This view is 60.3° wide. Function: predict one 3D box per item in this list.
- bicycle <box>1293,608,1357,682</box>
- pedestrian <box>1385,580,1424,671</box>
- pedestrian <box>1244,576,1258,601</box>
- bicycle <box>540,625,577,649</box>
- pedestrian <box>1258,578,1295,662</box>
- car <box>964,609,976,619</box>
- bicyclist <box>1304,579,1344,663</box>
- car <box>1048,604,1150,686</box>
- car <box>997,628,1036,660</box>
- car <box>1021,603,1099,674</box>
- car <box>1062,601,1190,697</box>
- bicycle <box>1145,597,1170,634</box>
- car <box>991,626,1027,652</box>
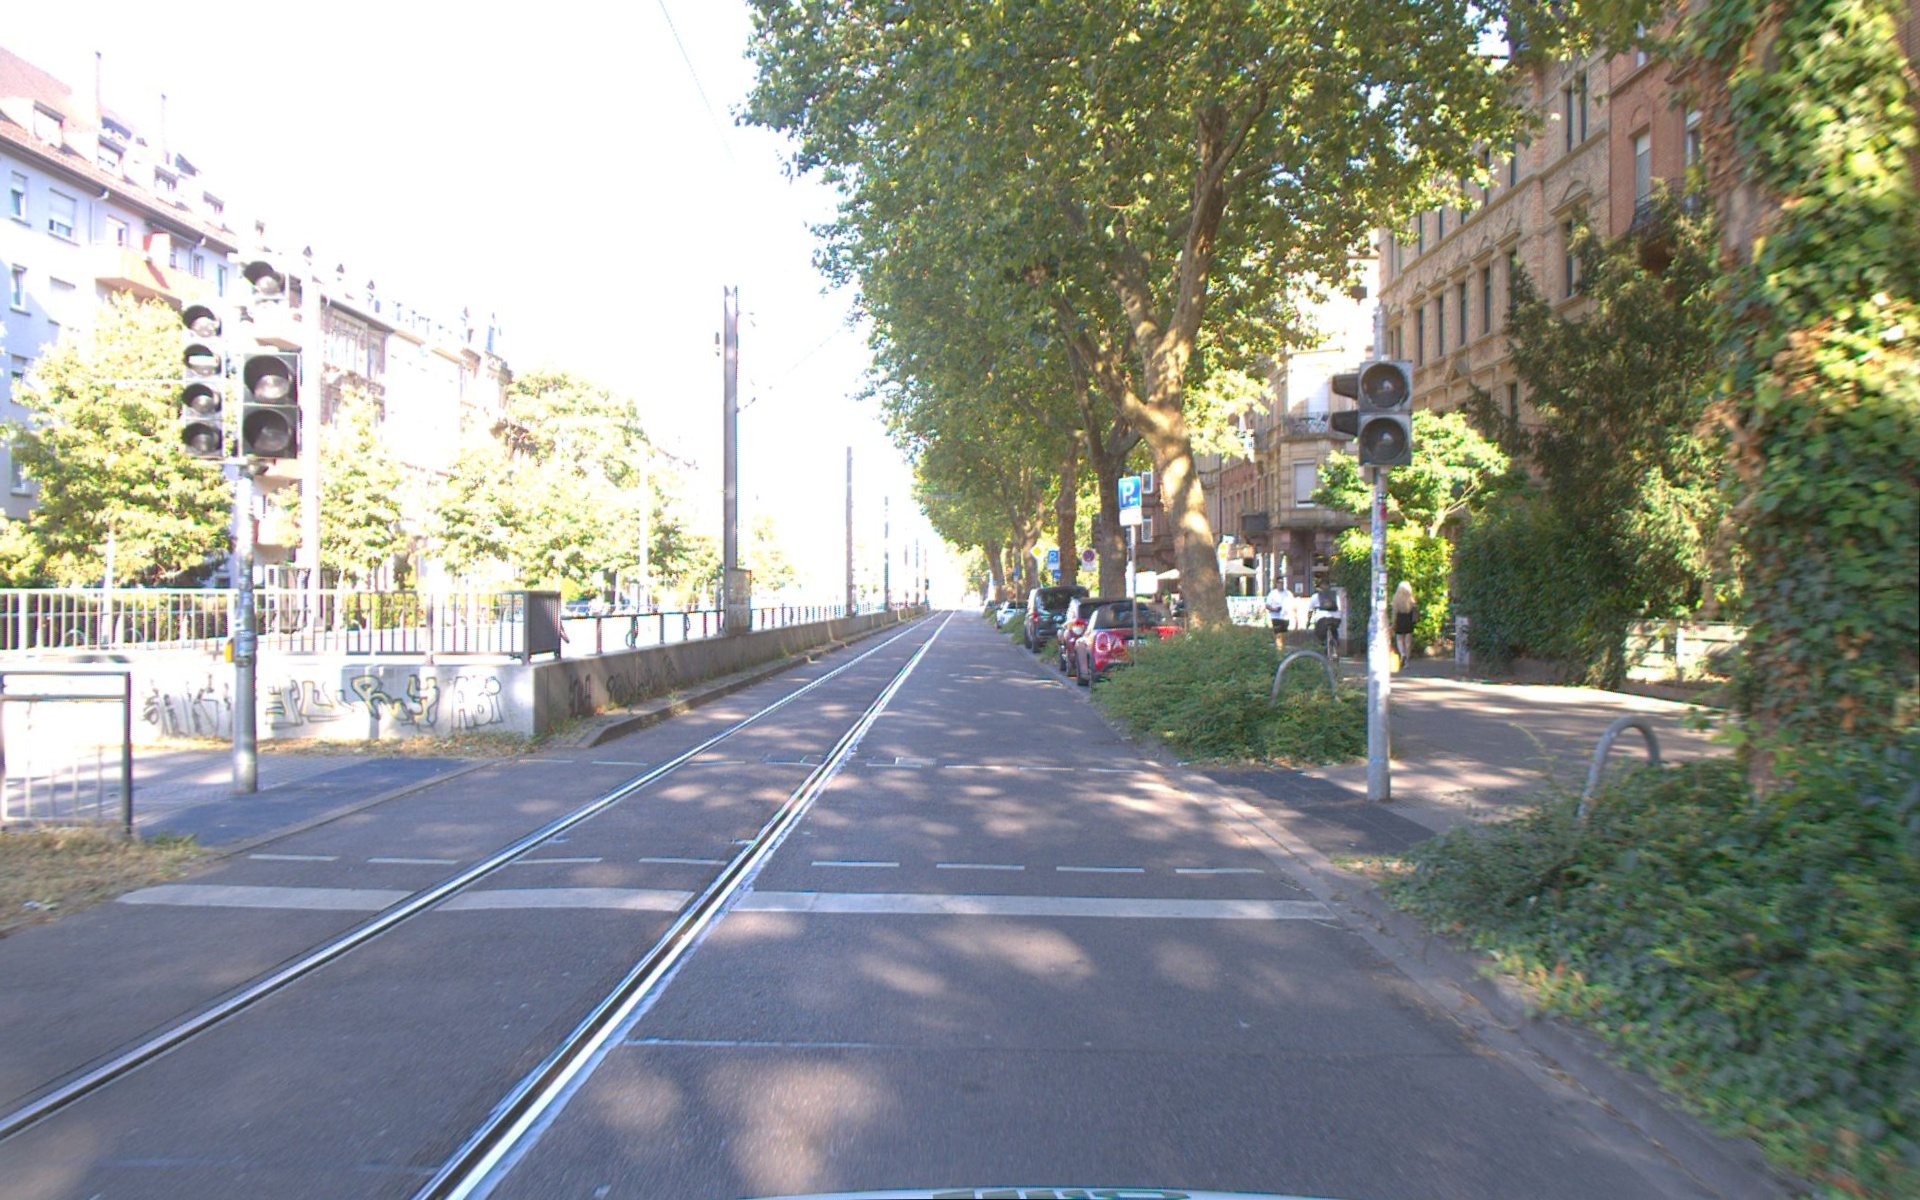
[{"bbox_3d":[6.198,0.744,28.183,0.549,1.199,2.225,0,0,-1],"label":"bicycle"},{"bbox_3d":[8.252,0.470,30.712,0.519,1.656,0.617,-1,0,0],"label":"pedestrian"},{"bbox_3d":[13.655,-0.529,77.539,0.545,1.158,0.526,1,-2,-1],"label":"pedestrian"},{"bbox_3d":[-21.549,2.002,88.808,1.771,1.199,0.562,3,-1,2],"label":"bicycle"},{"bbox_3d":[6.892,0.433,36.013,0.675,1.816,0.644,0,0,-2],"label":"pedestrian"},{"bbox_3d":[1.518,2.147,250.624,1.710,1.487,3.643,3,-1,-1],"label":"car"},{"bbox_3d":[6.192,0.351,28.172,0.532,1.404,0.644,0,0,-2],"label":"bicyclist"},{"bbox_3d":[2.816,0.944,34.359,1.679,1.576,4.499,-1,-2,0],"label":"car"},{"bbox_3d":[2.818,2.196,82.899,1.765,1.503,4.645,1,-1,-1],"label":"car"},{"bbox_3d":[3.003,1.149,50.596,1.953,2.049,5.200,0,-1,-1],"label":"car"},{"bbox_3d":[2.790,0.862,28.516,1.680,1.488,3.998,2,-2,-1],"label":"car"},{"bbox_3d":[6.683,0.541,55.991,0.549,1.199,2.021,1,-2,-1],"label":"bicycle"},{"bbox_3d":[2.607,2.066,88.125,1.792,1.350,3.999,1,-1,0],"label":"car"}]
